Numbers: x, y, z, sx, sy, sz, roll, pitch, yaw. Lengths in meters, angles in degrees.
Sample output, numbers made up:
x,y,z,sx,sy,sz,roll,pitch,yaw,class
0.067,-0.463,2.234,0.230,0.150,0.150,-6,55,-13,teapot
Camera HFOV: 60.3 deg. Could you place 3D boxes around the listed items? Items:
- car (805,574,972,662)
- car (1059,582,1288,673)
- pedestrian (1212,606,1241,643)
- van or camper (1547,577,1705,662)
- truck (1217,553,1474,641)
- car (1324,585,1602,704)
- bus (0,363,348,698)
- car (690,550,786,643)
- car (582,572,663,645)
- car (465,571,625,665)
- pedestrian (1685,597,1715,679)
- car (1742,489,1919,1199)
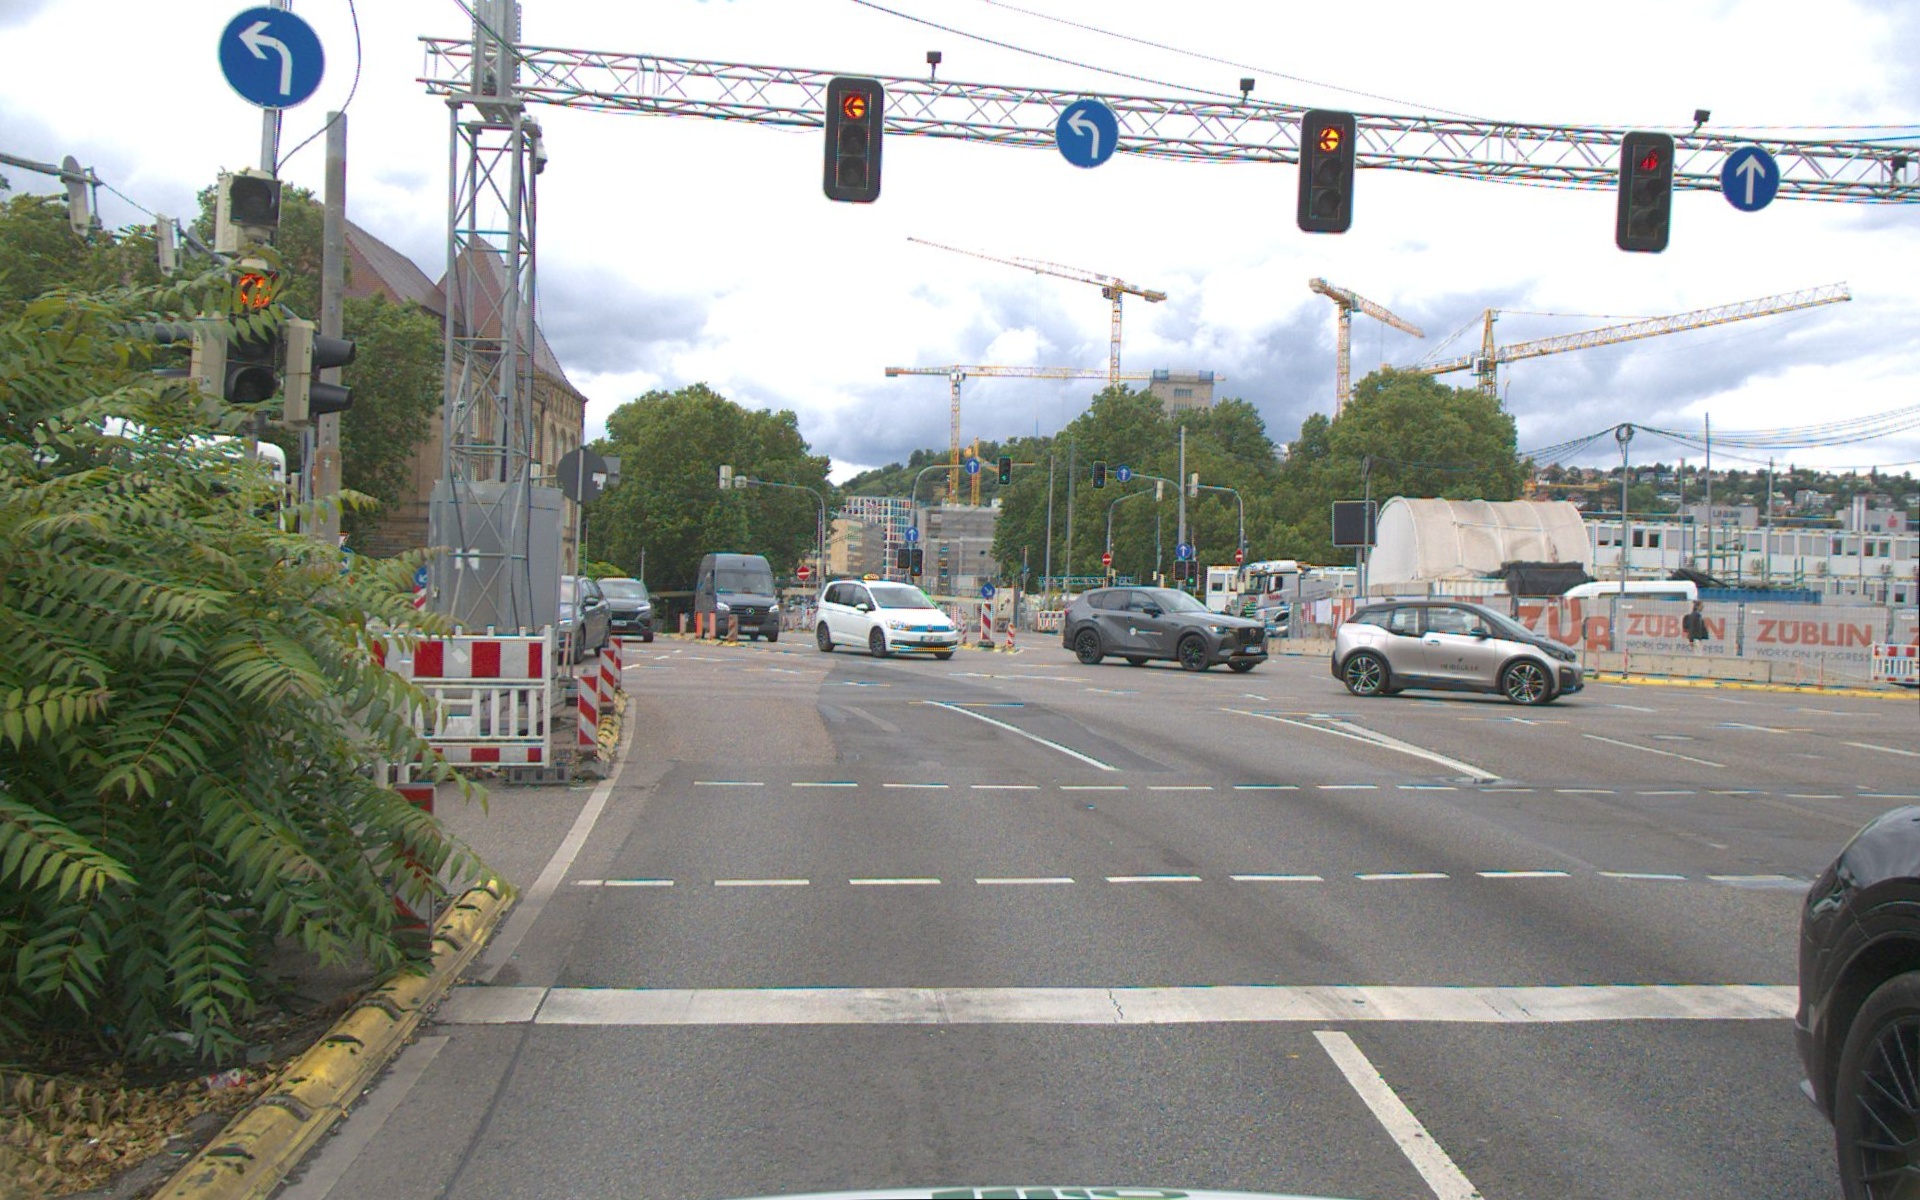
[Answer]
x,y,z,sx,sy,sz,roll,pitch,yaw,class
-1.666,0.365,36.776,1.858,1.766,4.400,1,1,-30,car
4.436,0.536,34.852,4.529,1.699,1.872,2,1,43,car
10.175,0.929,63.208,0.782,1.402,0.902,2,0,-11,pedestrian
20.113,0.575,50.100,4.123,2.398,2.002,2,0,13,van or camper
19.743,-0.115,84.540,12.841,4.111,3.925,1,0,-22,truck
8.133,0.670,26.815,3.978,1.697,1.796,2,0,31,car
-10.346,-0.711,19.081,2.786,3.168,9.125,2,0,2,bus
-6.898,-0.148,50.833,2.024,2.639,5.987,1,0,-16,car
-8.630,0.177,42.077,1.846,1.699,4.430,2,1,-13,car
-7.240,0.273,29.306,1.840,1.498,4.443,2,1,-2,car
18.913,0.966,42.288,0.638,2.049,0.517,1,0,23,pedestrian
2.966,0.665,1.859,1.915,1.715,4.634,2,0,-1,car
